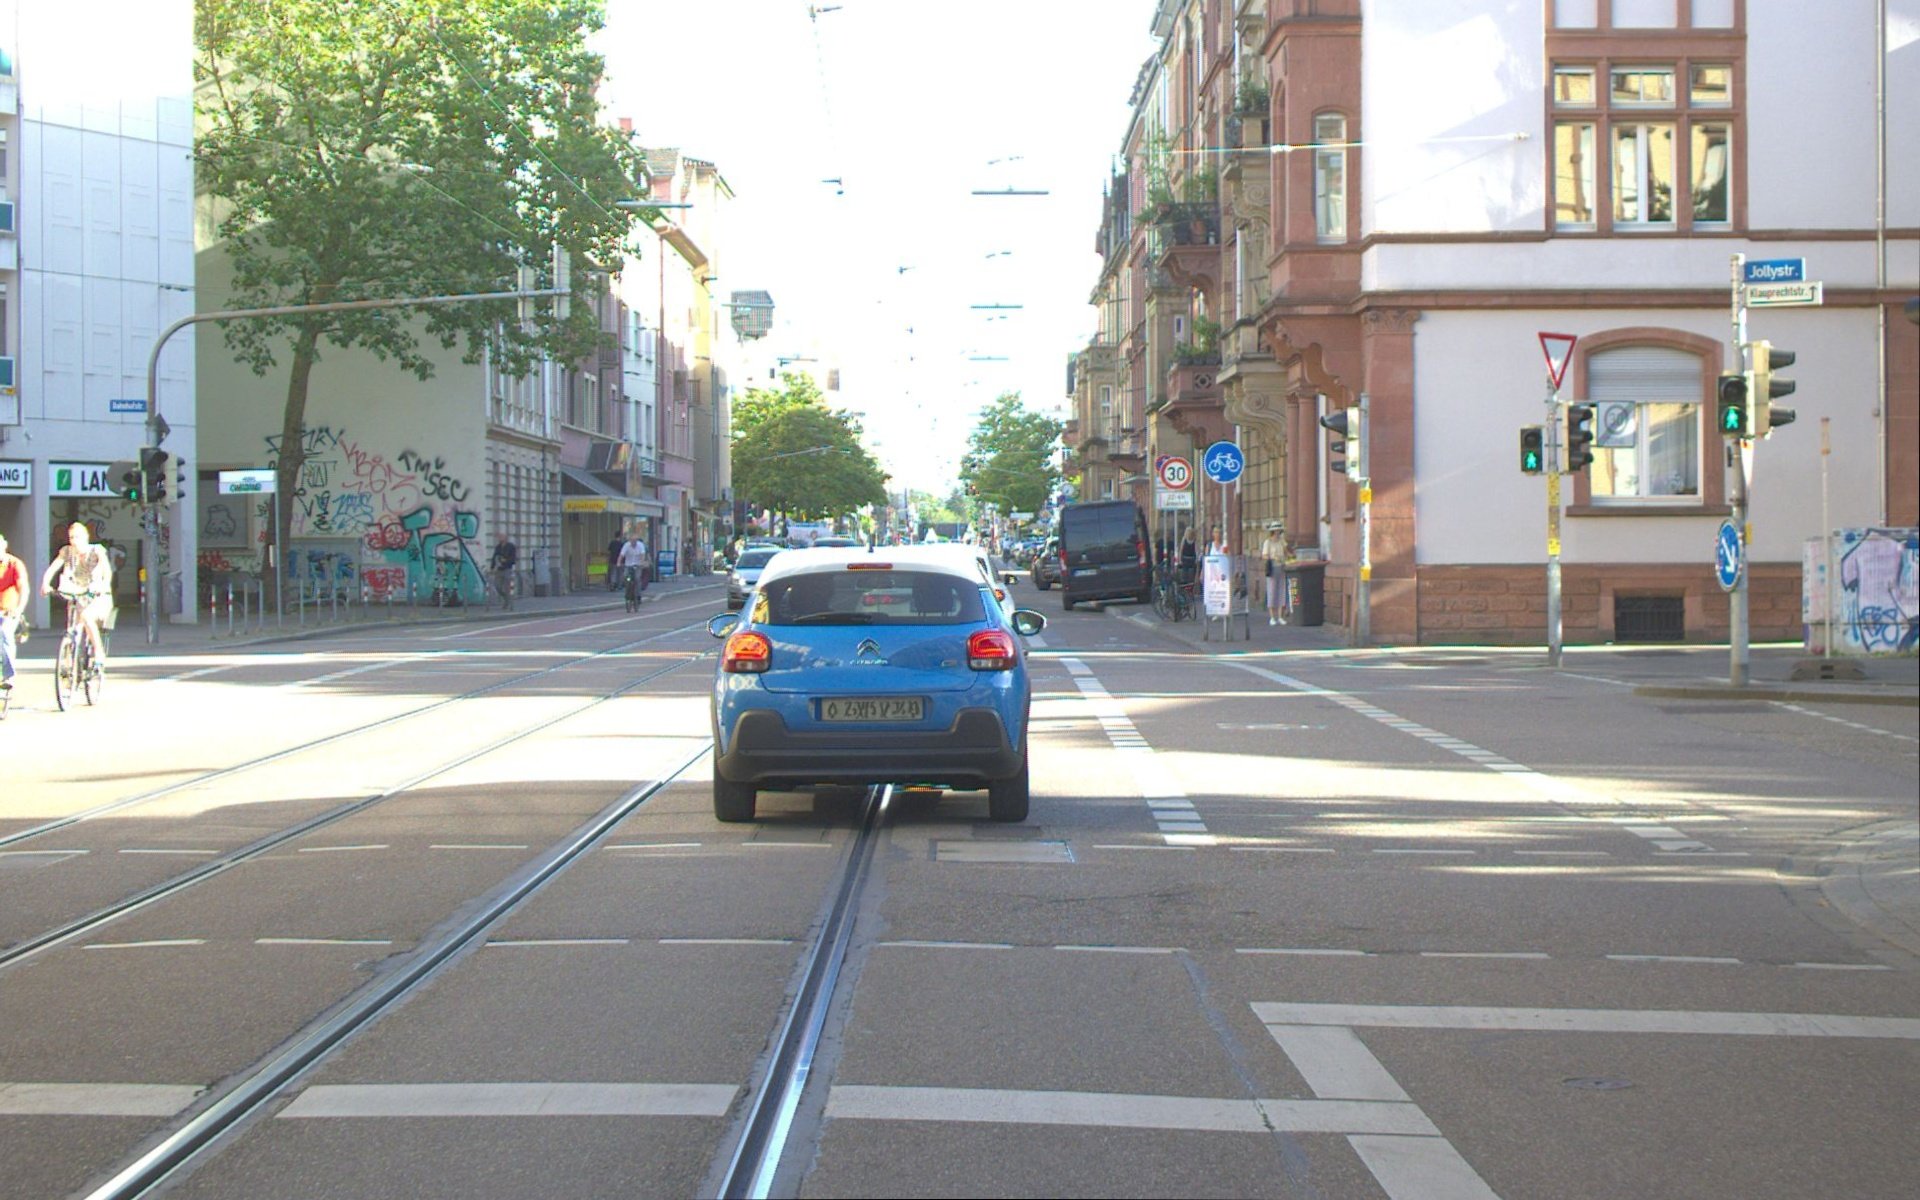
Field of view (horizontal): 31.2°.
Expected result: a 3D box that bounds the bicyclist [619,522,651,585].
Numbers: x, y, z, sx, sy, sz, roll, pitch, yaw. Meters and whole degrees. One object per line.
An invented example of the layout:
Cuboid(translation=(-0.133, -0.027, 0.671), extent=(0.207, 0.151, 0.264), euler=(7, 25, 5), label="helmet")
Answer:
Cuboid(translation=(-7.718, -1.110, 81.753), extent=(0.682, 1.478, 0.778), euler=(0, 1, -1), label="bicyclist")

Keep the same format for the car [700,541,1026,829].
Cuboid(translation=(-0.610, 0.401, 19.710), extent=(1.673, 1.472, 4.001), euler=(0, 1, -3), label="car")

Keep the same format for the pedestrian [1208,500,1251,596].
Cuboid(translation=(4.805, -0.936, 61.292), extent=(0.626, 1.695, 0.682), euler=(-1, 1, -9), label="pedestrian")

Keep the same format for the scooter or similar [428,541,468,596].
Cuboid(translation=(-12.319, -0.765, 82.749), extent=(0.788, 1.267, 1.075), euler=(2, 3, -1), label="scooter or similar")

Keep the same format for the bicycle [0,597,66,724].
Cuboid(translation=(-8.627, 0.523, 30.809), extent=(0.730, 1.062, 2.062), euler=(0, 1, -1), label="bicycle")

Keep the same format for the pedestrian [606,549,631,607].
Cuboid(translation=(-10.351, -0.665, 104.216), extent=(0.710, 1.758, 0.570), euler=(-1, 1, -1), label="pedestrian")

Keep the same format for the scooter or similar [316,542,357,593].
Cuboid(translation=(-14.972, -0.783, 82.566), extent=(0.937, 1.218, 0.768), euler=(0, 1, -12), label="scooter or similar")

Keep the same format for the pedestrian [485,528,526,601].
Cuboid(translation=(-10.953, -0.857, 82.816), extent=(0.682, 1.759, 1.025), euler=(0, 1, 11), label="pedestrian")

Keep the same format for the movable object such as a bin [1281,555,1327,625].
Cuboid(translation=(5.674, -0.168, 56.750), extent=(0.666, 1.149, 0.594), euler=(0, 1, -3), label="movable object such as a bin")

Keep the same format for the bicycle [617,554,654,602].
Cuboid(translation=(-7.712, -0.531, 81.741), extent=(0.692, 1.116, 2.084), euler=(0, 1, -1), label="bicycle")

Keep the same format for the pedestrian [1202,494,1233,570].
Cuboid(translation=(6.122, -1.616, 81.732), extent=(0.553, 1.776, 0.606), euler=(4, 1, -1), label="pedestrian")

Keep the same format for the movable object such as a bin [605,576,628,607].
Cuboid(translation=(-10.488, -0.266, 104.972), extent=(0.610, 0.911, 0.695), euler=(-1, 1, 0), label="movable object such as a bin")

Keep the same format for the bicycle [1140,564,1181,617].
Cuboid(translation=(3.633, -0.180, 62.420), extent=(0.431, 0.944, 1.764), euler=(0, 1, -7), label="bicycle")

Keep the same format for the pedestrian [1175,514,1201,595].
Cuboid(translation=(5.662, -1.124, 85.490), extent=(0.585, 2.007, 0.823), euler=(0, 1, -1), label="pedestrian")

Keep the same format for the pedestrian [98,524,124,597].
Cuboid(translation=(-20.017, -0.942, 81.065), extent=(0.456, 1.712, 0.547), euler=(-1, 1, -1), label="pedestrian")

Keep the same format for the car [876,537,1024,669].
Cuboid(translation=(-0.154, -0.004, 41.240), extent=(1.667, 1.473, 4.000), euler=(-1, 1, -1), label="car")

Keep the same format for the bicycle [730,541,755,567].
Cuboid(translation=(-11.034, -2.345, 174.516), extent=(1.120, 1.315, 3.645), euler=(-1, 1, -5), label="bicycle")

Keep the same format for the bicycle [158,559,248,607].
Cuboid(translation=(-16.526, -0.384, 75.025), extent=(1.918, 1.031, 0.664), euler=(0, 1, 26), label="bicycle")

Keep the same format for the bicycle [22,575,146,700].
Cuboid(translation=(-8.501, 0.368, 33.436), extent=(0.730, 1.179, 2.062), euler=(0, -1, -1), label="bicycle")

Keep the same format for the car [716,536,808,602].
Cuboid(translation=(-4.686, -0.752, 81.804), extent=(1.985, 1.497, 4.309), euler=(0, 1, -1), label="car")

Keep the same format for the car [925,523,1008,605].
Cuboid(translation=(0.132, -0.925, 86.715), extent=(1.993, 2.007, 4.000), euler=(-1, 1, -1), label="car")

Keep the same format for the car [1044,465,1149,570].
Cuboid(translation=(3.237, -1.964, 82.752), extent=(2.271, 2.428, 5.720), euler=(0, 1, 0), label="car")

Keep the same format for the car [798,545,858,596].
Cuboid(translation=(-4.622, -1.066, 120.958), extent=(1.993, 1.738, 4.563), euler=(0, 1, -1), label="car")

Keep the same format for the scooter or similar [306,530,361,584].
Cuboid(translation=(-14.833, -1.015, 81.408), extent=(1.227, 1.253, 0.768), euler=(-1, 1, -12), label="scooter or similar")

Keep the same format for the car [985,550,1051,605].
Cuboid(translation=(1.848, -0.736, 110.128), extent=(2.005, 1.667, 4.806), euler=(-1, 1, 0), label="car")

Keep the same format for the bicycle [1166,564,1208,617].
Cuboid(translation=(4.119, -0.182, 62.453), extent=(0.431, 0.944, 1.764), euler=(0, 1, -7), label="bicycle")

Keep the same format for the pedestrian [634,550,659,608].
Cuboid(translation=(-9.583, -0.652, 105.172), extent=(0.710, 1.758, 0.655), euler=(-1, 1, -2), label="pedestrian")

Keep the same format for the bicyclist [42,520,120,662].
Cuboid(translation=(-8.571, -0.097, 33.547), extent=(0.590, 1.371, 0.679), euler=(0, 1, -1), label="bicyclist")

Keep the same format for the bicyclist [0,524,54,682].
Cuboid(translation=(-8.633, 0.012, 30.673), extent=(0.735, 1.376, 1.469), euler=(0, 1, -1), label="bicyclist")

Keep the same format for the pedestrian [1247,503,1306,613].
Cuboid(translation=(5.381, -0.715, 58.444), extent=(0.705, 1.776, 0.673), euler=(-8, 1, -1), label="pedestrian")
